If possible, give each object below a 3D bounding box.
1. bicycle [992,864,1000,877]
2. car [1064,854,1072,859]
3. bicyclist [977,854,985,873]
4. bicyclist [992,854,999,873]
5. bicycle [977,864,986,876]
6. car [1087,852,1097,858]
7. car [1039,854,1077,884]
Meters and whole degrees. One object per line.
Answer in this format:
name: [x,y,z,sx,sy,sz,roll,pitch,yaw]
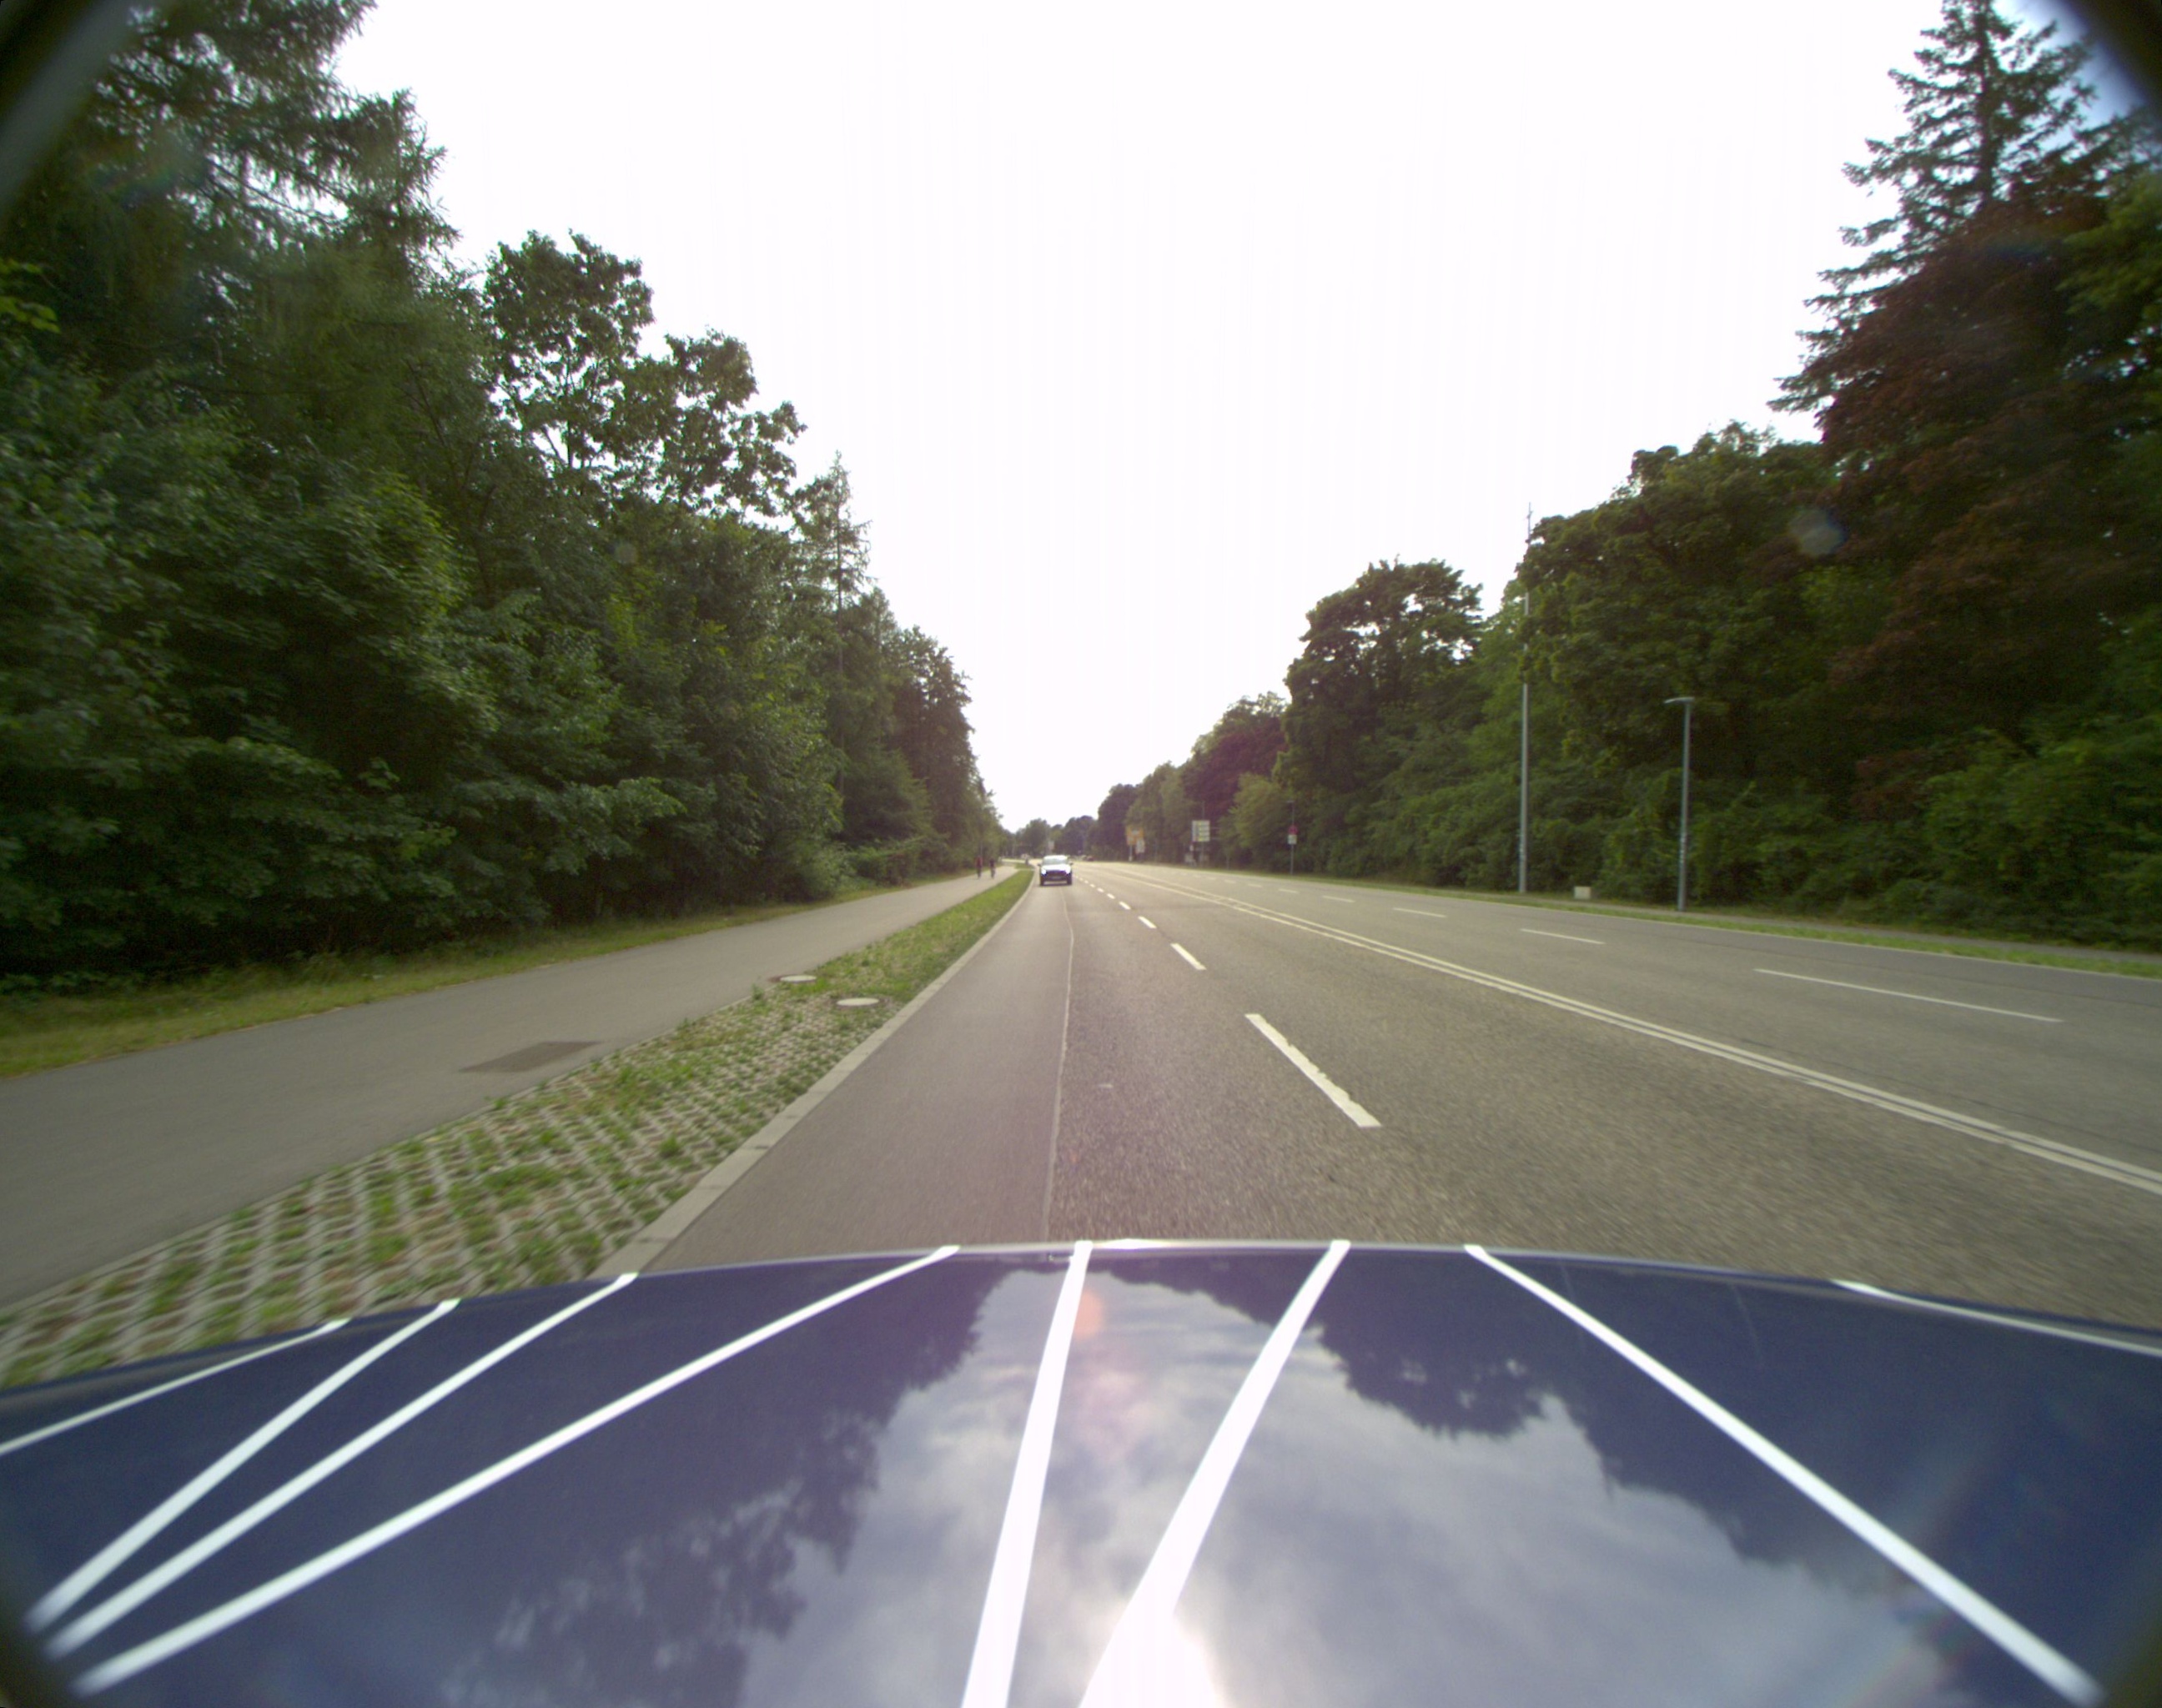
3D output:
bicycle: [-6.648,1.286,59.295,0.567,0.906,1.753,1,1,-5]
car: [-4.470,0.934,258.616,2.000,1.585,3.997,-3,1,-7]
bicyclist: [-7.762,0.731,59.172,0.521,1.407,1.186,-2,1,-5]
bicyclist: [-6.669,0.722,59.280,0.521,1.407,1.186,-1,1,-5]
bicycle: [-7.754,1.249,59.099,0.567,0.906,1.886,2,-1,-5]
car: [2.928,0.228,203.203,1.747,1.467,3.996,-3,1,-10]
car: [-1.363,0.831,44.151,1.999,1.565,3.998,-3,1,-2]
